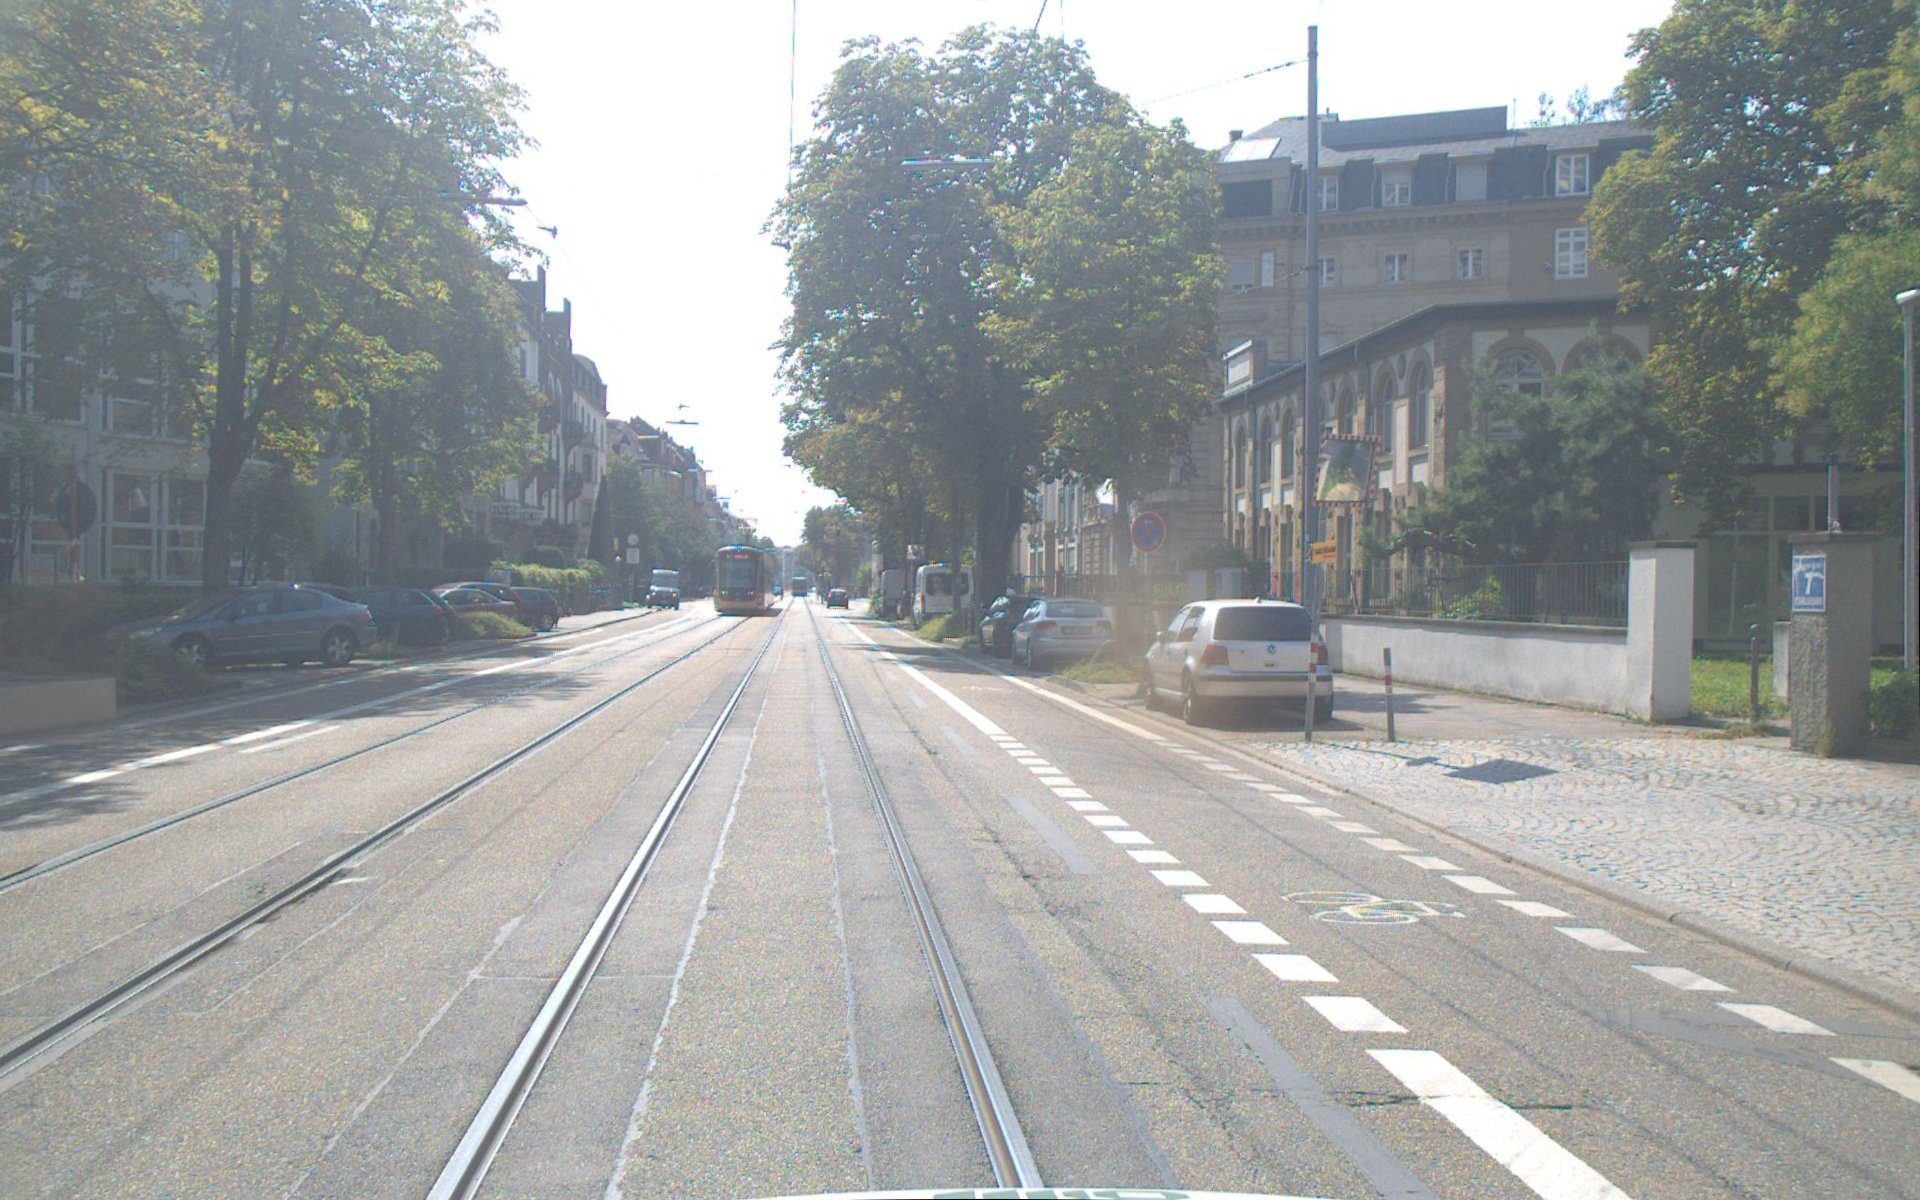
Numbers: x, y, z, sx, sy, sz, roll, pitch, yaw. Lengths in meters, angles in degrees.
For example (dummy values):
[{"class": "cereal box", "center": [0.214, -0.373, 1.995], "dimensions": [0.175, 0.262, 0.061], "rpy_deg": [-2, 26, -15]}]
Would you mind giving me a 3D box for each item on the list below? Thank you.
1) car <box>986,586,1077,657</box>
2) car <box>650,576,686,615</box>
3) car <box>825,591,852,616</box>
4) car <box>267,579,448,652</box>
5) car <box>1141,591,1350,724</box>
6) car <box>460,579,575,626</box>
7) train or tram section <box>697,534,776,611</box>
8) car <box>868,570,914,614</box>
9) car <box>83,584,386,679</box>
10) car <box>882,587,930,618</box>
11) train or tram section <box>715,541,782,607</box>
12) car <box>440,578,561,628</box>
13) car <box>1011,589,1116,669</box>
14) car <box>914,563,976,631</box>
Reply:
[{"class": "car", "center": [1.673, 0.482, 39.782], "dimensions": [1.759, 1.604, 3.997], "rpy_deg": [1, 0, -4]}, {"class": "car", "center": [-19.309, -0.292, 109.440], "dimensions": [2.200, 2.484, 3.992], "rpy_deg": [1, 0, -9]}, {"class": "car", "center": [-9.394, 0.272, 127.557], "dimensions": [1.955, 1.832, 3.996], "rpy_deg": [1, 0, -5]}, {"class": "car", "center": [-13.817, 0.355, 38.060], "dimensions": [1.647, 1.602, 3.564], "rpy_deg": [1, 0, 43]}, {"class": "car", "center": [3.403, 0.631, 20.373], "dimensions": [1.755, 1.471, 3.730], "rpy_deg": [-1, 0, -3]}, {"class": "car", "center": [-15.499, 0.104, 58.020], "dimensions": [1.647, 1.602, 3.564], "rpy_deg": [1, 0, 43]}, {"class": "train or tram section", "center": [-11.856, -1.437, 88.889], "dimensions": [3.428, 3.769, 12.401], "rpy_deg": [1, 1, -4]}, {"class": "car", "center": [-3.716, -0.418, 88.413], "dimensions": [1.957, 2.272, 3.990], "rpy_deg": [0, 0, -10]}, {"class": "car", "center": [-12.567, 0.482, 28.941], "dimensions": [1.644, 1.477, 4.668], "rpy_deg": [1, 1, 37]}, {"class": "car", "center": [-2.687, 0.102, 81.094], "dimensions": [1.956, 1.422, 3.993], "rpy_deg": [1, 0, -8]}, {"class": "train or tram section", "center": [-12.817, -1.572, 101.250], "dimensions": [3.428, 3.769, 12.401], "rpy_deg": [1, 1, -4]}, {"class": "car", "center": [-15.283, 0.103, 55.123], "dimensions": [1.647, 1.602, 3.564], "rpy_deg": [1, 0, 43]}, {"class": "car", "center": [2.067, 0.565, 33.899], "dimensions": [1.609, 1.538, 3.637], "rpy_deg": [1, 0, -5]}, {"class": "car", "center": [-0.590, -0.110, 61.431], "dimensions": [1.955, 2.407, 3.996], "rpy_deg": [1, 0, -5]}]
